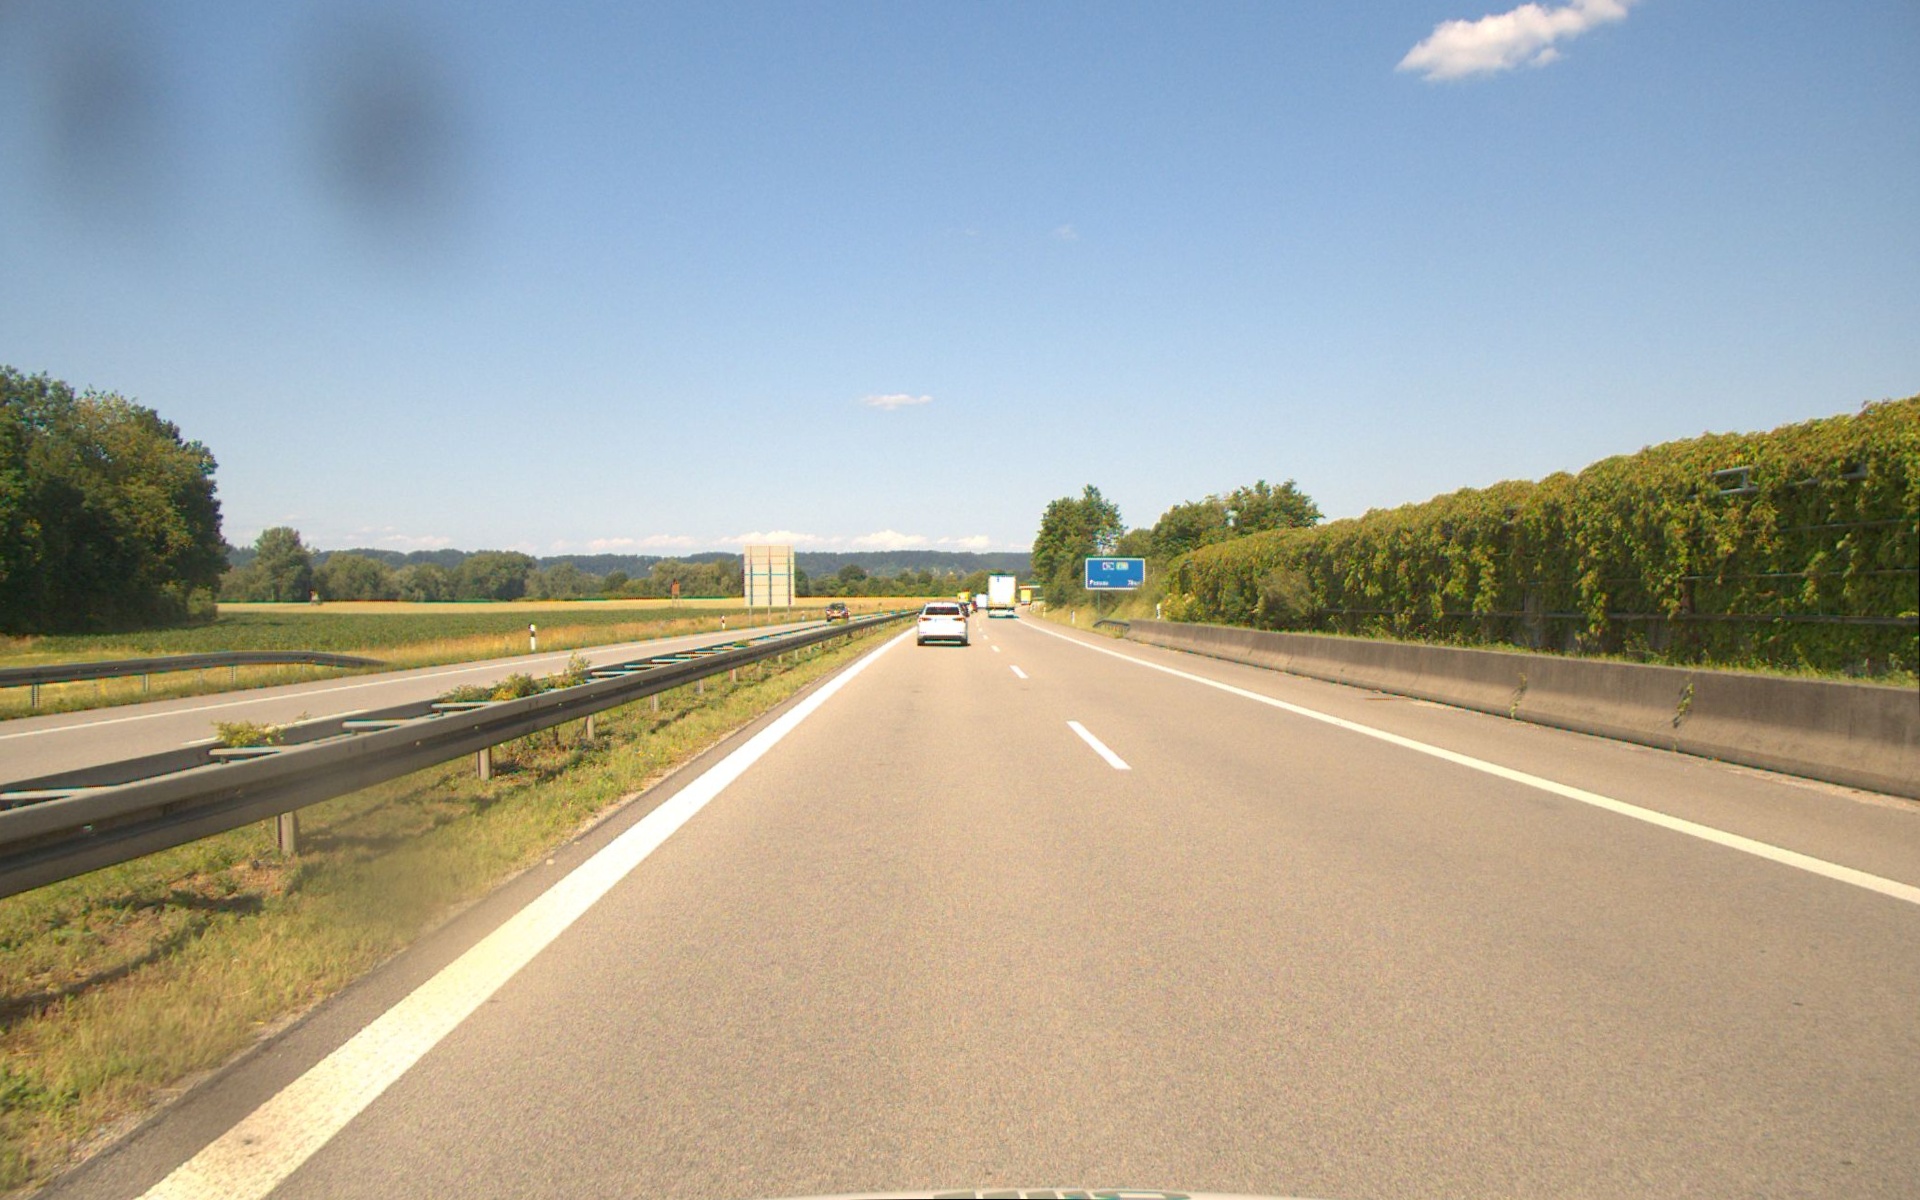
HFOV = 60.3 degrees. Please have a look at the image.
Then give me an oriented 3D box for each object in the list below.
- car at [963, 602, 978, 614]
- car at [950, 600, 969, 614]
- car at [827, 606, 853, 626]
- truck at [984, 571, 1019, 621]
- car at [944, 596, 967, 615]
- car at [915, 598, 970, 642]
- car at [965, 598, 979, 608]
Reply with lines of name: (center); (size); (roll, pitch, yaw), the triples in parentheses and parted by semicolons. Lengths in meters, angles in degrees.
car: (1.324, 1.032, 209.451); (1.734, 1.446, 4.365); (0, 0, 2)
car: (-0.031, 0.701, 170.642); (1.734, 1.446, 4.365); (0, 0, 2)
car: (-10.824, 1.444, 148.971); (1.953, 1.690, 4.775); (-2, 0, 0)
truck: (3.990, -0.424, 161.573); (3.088, 4.693, 8.904); (-1, 0, 0)
car: (-0.329, 0.435, 129.952); (1.735, 1.446, 4.495); (1, 0, 1)
car: (-0.609, 0.675, 58.164); (1.803, 1.446, 5.254); (1, 0, -1)
car: (1.652, 0.415, 228.376); (1.734, 1.446, 4.366); (0, 0, 2)
